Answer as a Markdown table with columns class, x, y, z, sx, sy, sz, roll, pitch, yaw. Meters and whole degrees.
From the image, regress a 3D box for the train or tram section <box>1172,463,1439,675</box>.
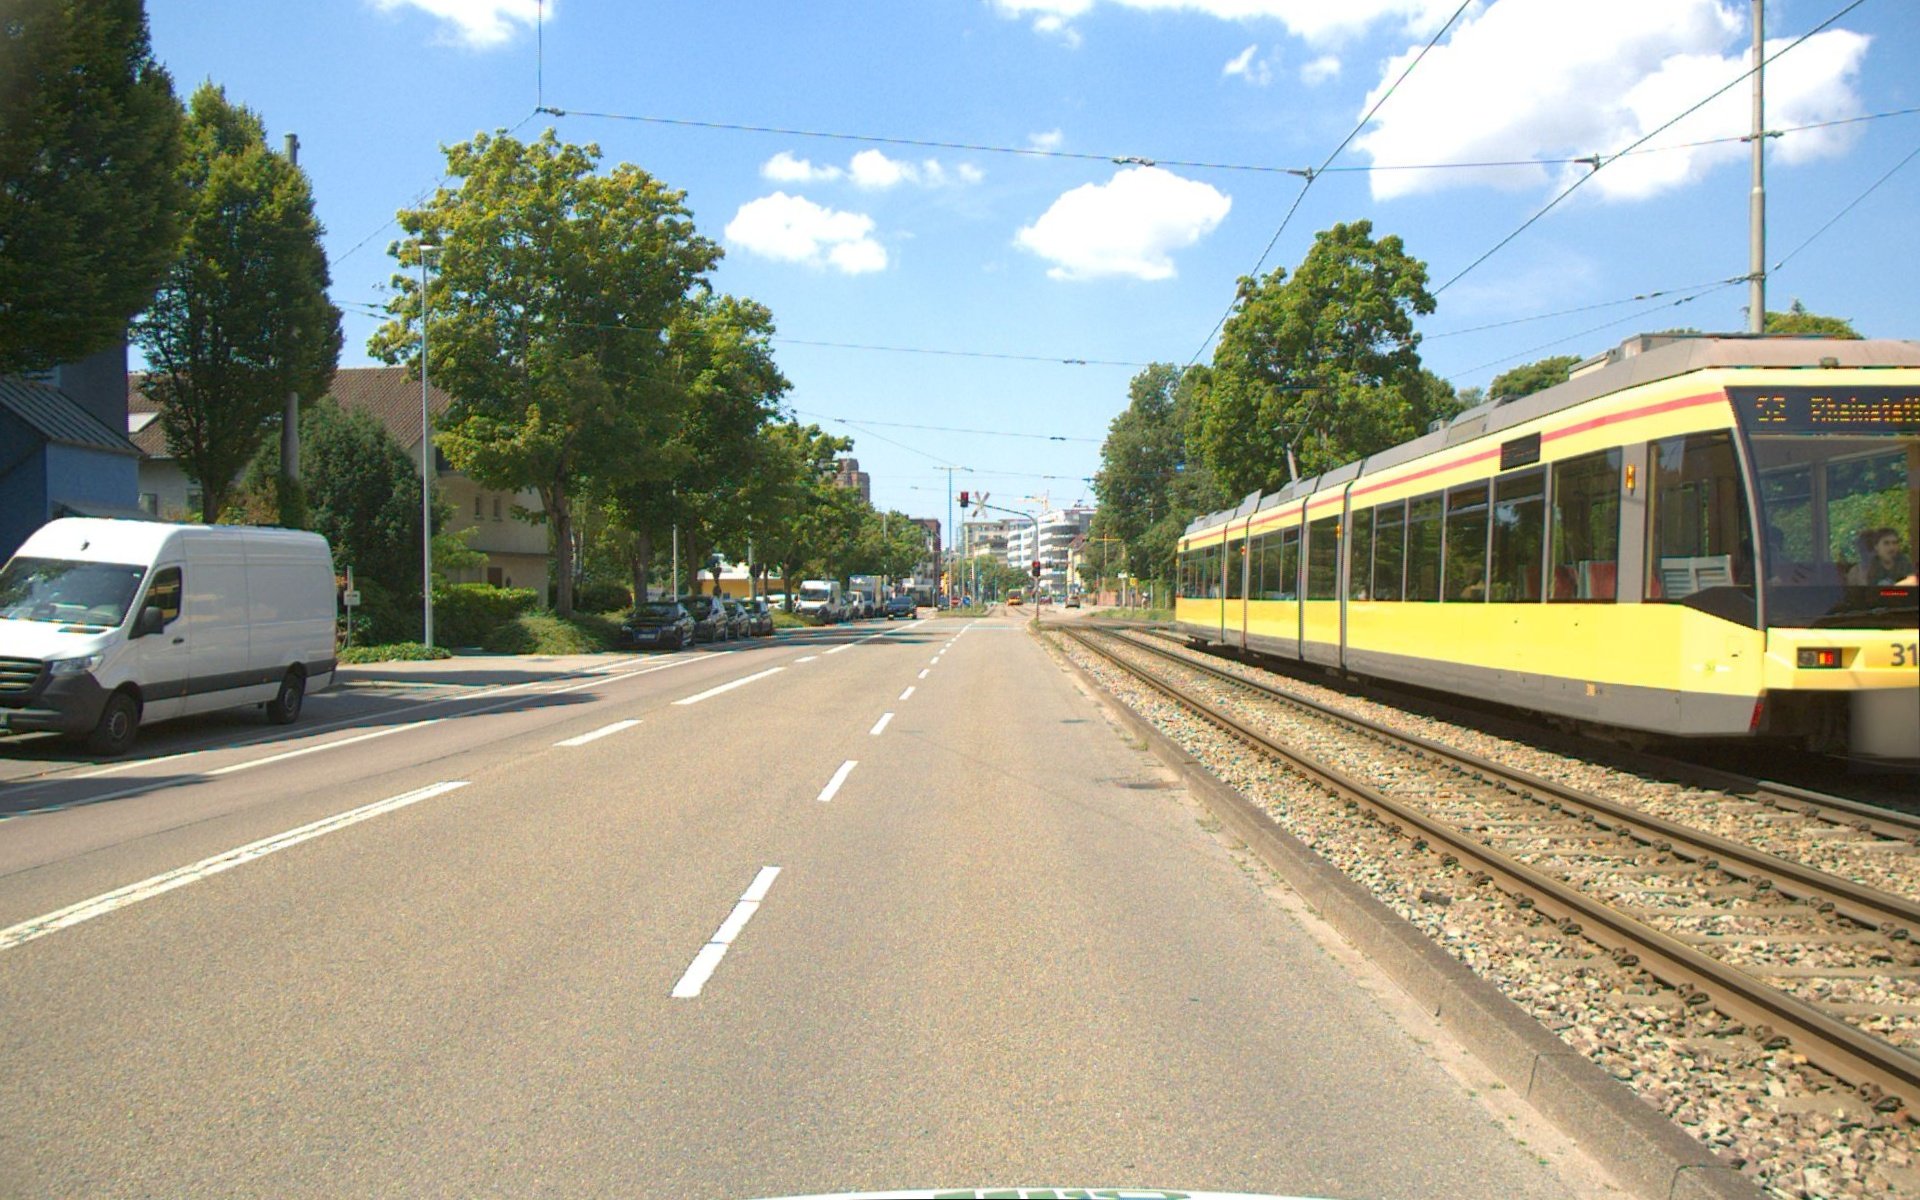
| class | x | y | z | sx | sy | sz | roll | pitch | yaw |
| --- | --- | --- | --- | --- | --- | --- | --- | --- | --- |
| train or tram section | 7.430 | -0.587 | 39.525 | 2.882 | 3.756 | 20.289 | 0 | 0 | 2 |

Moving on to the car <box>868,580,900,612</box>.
| class | x | y | z | sx | sy | sz | roll | pitch | yaw |
| --- | --- | --- | --- | --- | --- | --- | --- | --- | --- |
| car | -6.538 | -0.356 | 142.847 | 2.111 | 2.685 | 5.614 | 0 | 0 | 4 |

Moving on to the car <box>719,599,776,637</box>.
| class | x | y | z | sx | sy | sz | roll | pitch | yaw |
| --- | --- | --- | --- | --- | --- | --- | --- | --- | --- |
| car | -8.904 | 0.716 | 69.518 | 1.738 | 1.506 | 4.048 | 1 | 0 | 1 |

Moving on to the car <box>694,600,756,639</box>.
| class | x | y | z | sx | sy | sz | roll | pitch | yaw |
| --- | --- | --- | --- | --- | --- | --- | --- | --- | --- |
| car | -9.182 | 0.733 | 64.976 | 1.738 | 1.397 | 4.697 | 1 | 0 | 0 |

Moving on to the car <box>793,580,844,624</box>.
| class | x | y | z | sx | sy | sz | roll | pitch | yaw |
| --- | --- | --- | --- | --- | --- | --- | --- | --- | --- |
| car | -8.459 | 0.087 | 99.521 | 2.111 | 2.530 | 6.196 | 1 | 0 | 4 |

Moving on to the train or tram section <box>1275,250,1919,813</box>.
| class | x | y | z | sx | sy | sz | roll | pitch | yaw |
| --- | --- | --- | --- | --- | --- | --- | --- | --- | --- |
| train or tram section | 6.855 | -0.487 | 20.229 | 2.882 | 3.756 | 18.392 | 0 | 0 | 1 |

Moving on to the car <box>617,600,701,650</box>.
| class | x | y | z | sx | sy | sz | roll | pitch | yaw |
| --- | --- | --- | --- | --- | --- | --- | --- | --- | --- |
| car | -9.365 | 0.739 | 51.818 | 1.738 | 1.481 | 4.804 | 0 | 0 | 0 |

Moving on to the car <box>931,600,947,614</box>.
| class | x | y | z | sx | sy | sz | roll | pitch | yaw |
| --- | --- | --- | --- | --- | --- | --- | --- | --- | --- |
| car | -2.271 | 0.777 | 179.256 | 1.643 | 1.422 | 4.005 | -3 | 0 | 0 |

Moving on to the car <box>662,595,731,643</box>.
| class | x | y | z | sx | sy | sz | roll | pitch | yaw |
| --- | --- | --- | --- | --- | --- | --- | --- | --- | --- |
| car | -9.419 | 0.643 | 59.483 | 1.738 | 1.632 | 4.637 | 1 | 0 | 0 |

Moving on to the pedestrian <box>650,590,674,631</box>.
| class | x | y | z | sx | sy | sz | roll | pitch | yaw |
| --- | --- | --- | --- | --- | --- | --- | --- | --- | --- |
| pedestrian | -13.905 | 0.484 | 77.288 | 0.954 | 1.855 | 0.794 | -1 | 0 | -1 |

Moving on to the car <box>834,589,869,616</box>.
| class | x | y | z | sx | sy | sz | roll | pitch | yaw |
| --- | --- | --- | --- | --- | --- | --- | --- | --- | --- |
| car | -7.787 | 0.183 | 119.418 | 2.018 | 1.931 | 4.872 | -1 | 0 | 2 |

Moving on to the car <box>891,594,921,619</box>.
| class | x | y | z | sx | sy | sz | roll | pitch | yaw |
| --- | --- | --- | --- | --- | --- | --- | --- | --- | --- |
| car | -3.495 | 0.414 | 107.006 | 1.738 | 1.485 | 4.195 | -2 | 0 | 0 |

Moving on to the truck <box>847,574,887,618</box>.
| class | x | y | z | sx | sy | sz | roll | pitch | yaw |
| --- | --- | --- | --- | --- | --- | --- | --- | --- | --- |
| truck | -7.144 | -0.304 | 127.651 | 2.112 | 3.266 | 7.085 | 2 | 0 | 4 |

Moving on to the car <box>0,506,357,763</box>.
| class | x | y | z | sx | sy | sz | roll | pitch | yaw |
| --- | --- | --- | --- | --- | --- | --- | --- | --- | --- |
| car | -10.371 | 0.314 | 21.267 | 2.276 | 2.697 | 7.037 | 3 | 0 | 2 |
